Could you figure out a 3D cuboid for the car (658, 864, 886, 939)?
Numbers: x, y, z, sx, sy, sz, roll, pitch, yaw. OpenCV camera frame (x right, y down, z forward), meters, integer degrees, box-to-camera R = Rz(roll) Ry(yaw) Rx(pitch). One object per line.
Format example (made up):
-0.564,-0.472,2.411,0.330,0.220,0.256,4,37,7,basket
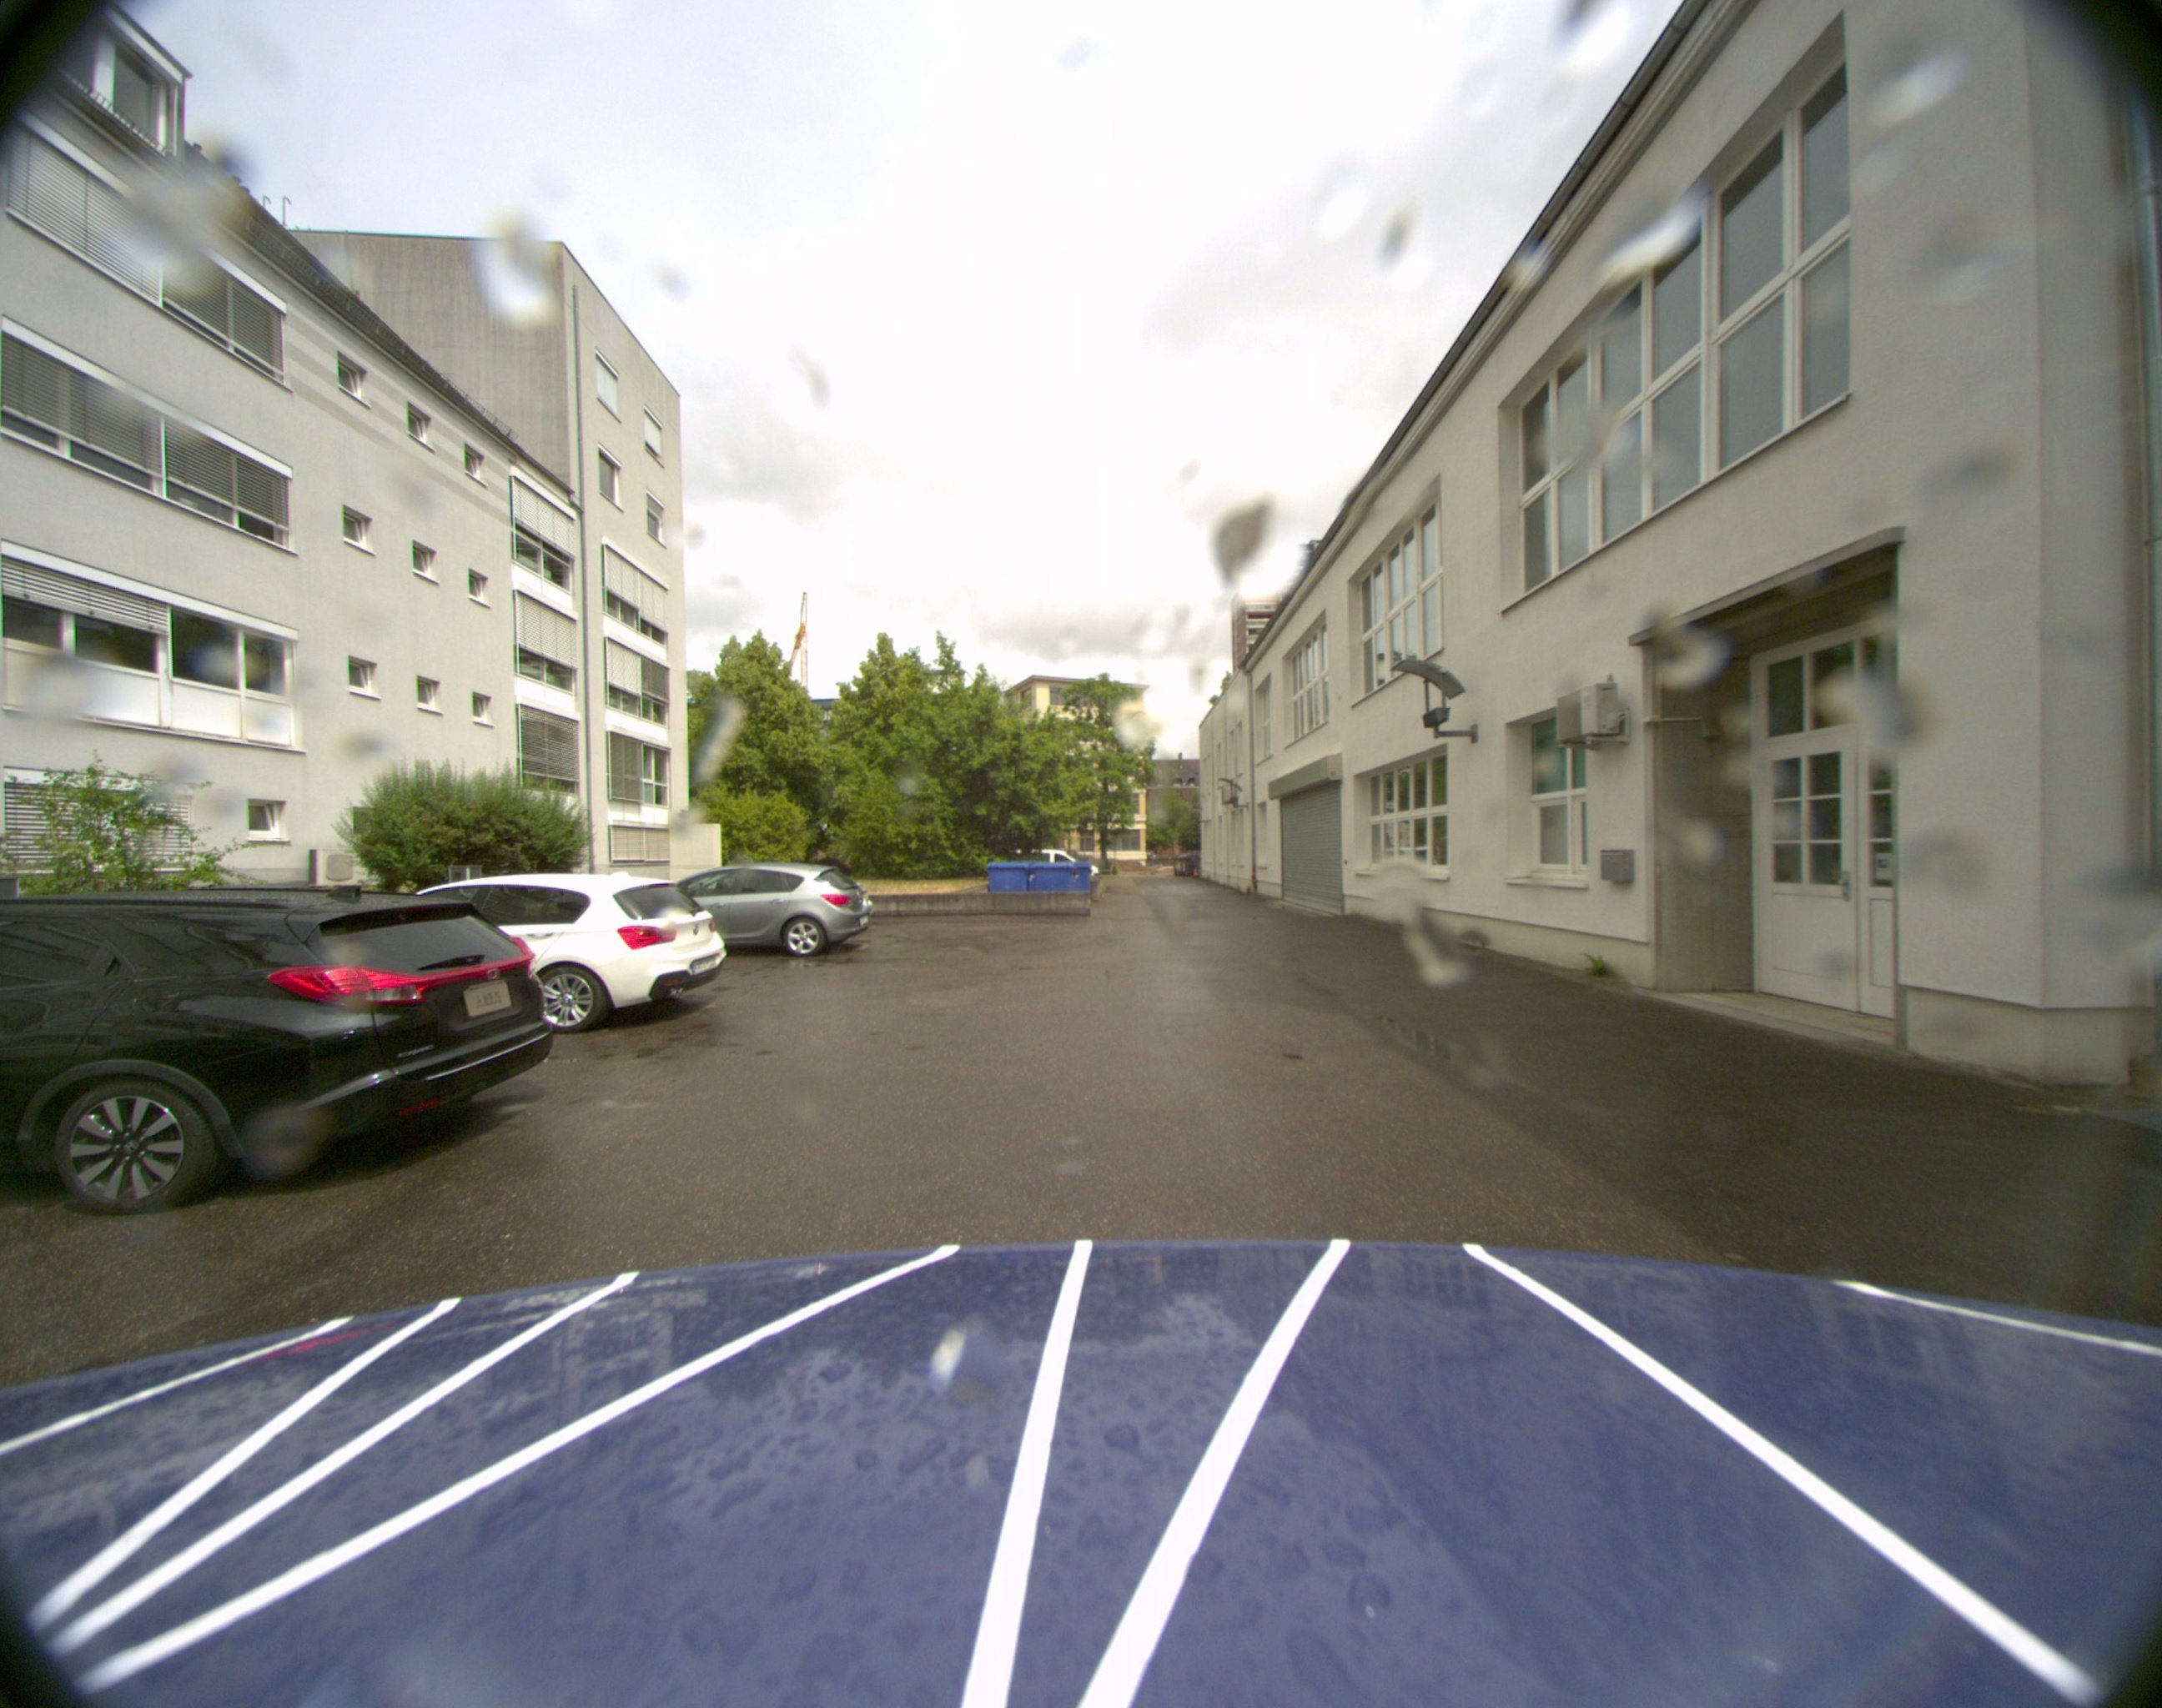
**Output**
-6.332,0.944,15.864,3.996,1.346,1.791,1,1,2,car

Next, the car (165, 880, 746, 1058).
-5.744,1.017,7.440,4.109,1.447,1.833,0,1,-2,car

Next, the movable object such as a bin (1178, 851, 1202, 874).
7.156,0.558,50.052,1.363,1.462,1.366,-2,0,2,movable object such as a bin

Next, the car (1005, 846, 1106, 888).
-1.282,0.650,39.187,4.947,2.002,2.001,-1,1,6,car

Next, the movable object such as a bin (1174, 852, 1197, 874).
7.290,0.618,52.950,1.363,1.462,1.465,-2,0,2,movable object such as a bin

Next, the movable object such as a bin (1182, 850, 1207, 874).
7.218,0.533,48.429,1.363,1.462,1.366,-2,0,2,movable object such as a bin

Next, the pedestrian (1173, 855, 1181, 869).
10.606,0.885,83.902,0.650,1.500,0.623,-1,0,-38,pedestrian

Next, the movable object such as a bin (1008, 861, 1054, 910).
-1.539,0.967,23.742,1.278,1.474,1.102,-2,0,2,movable object such as a bin

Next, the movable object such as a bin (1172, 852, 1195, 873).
7.330,0.612,54.558,1.412,1.462,1.561,-2,0,2,movable object such as a bin

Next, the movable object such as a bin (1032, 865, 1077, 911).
-0.771,0.984,22.226,1.232,1.309,1.056,0,0,2,movable object such as a bin

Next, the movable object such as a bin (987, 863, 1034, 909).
-2.059,0.920,22.284,1.232,1.309,1.056,0,0,2,movable object such as a bin

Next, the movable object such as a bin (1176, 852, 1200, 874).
7.244,0.607,51.521,1.363,1.462,1.352,-2,0,2,movable object such as a bin

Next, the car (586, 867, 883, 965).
-5.538,0.966,12.531,4.090,1.450,1.667,0,1,-1,car

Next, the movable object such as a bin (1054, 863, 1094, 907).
-0.217,0.973,24.078,1.177,1.309,1.056,-2,0,2,movable object such as a bin

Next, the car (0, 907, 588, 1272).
-5.439,1.075,4.136,4.182,1.393,1.938,0,1,-4,car
